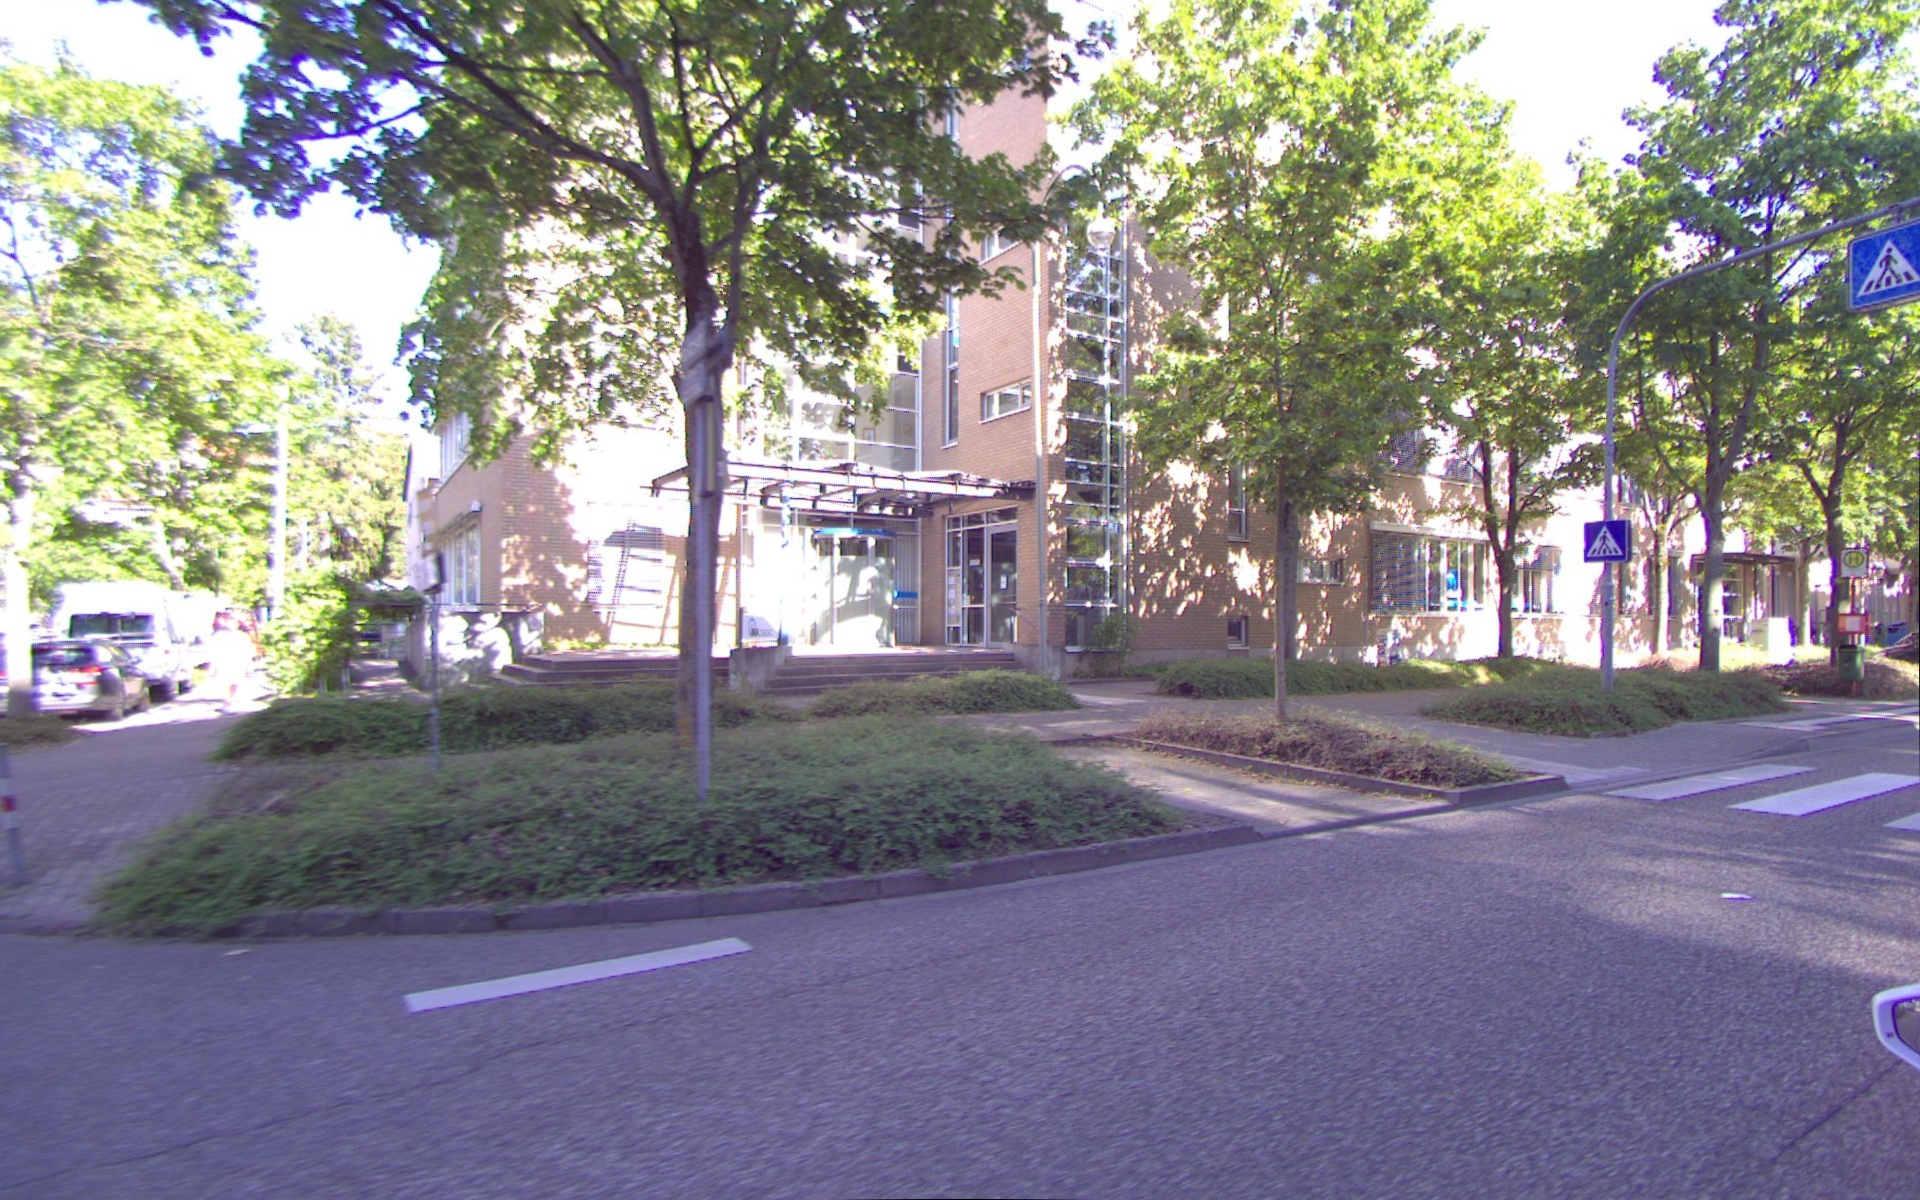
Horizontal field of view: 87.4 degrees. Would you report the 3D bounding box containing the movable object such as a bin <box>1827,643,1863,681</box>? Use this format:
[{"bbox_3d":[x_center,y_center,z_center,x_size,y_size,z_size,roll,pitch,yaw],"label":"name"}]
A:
[{"bbox_3d":[17.826,1.241,20.227,0.404,0.741,0.439,1,0,-33],"label":"movable object such as a bin"}]

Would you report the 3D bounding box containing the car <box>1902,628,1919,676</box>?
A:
[{"bbox_3d":[30.045,1.598,28.789,1.782,1.421,4.127,1,1,-33],"label":"car"}]

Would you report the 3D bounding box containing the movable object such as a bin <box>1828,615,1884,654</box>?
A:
[{"bbox_3d":[43.114,1.656,48.338,1.645,1.820,1.591,1,-1,-31],"label":"movable object such as a bin"}]

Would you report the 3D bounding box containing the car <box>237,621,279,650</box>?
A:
[{"bbox_3d":[-48.362,2.446,69.255,2.062,1.892,4.684,1,-2,-32],"label":"car"}]

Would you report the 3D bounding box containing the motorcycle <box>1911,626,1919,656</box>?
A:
[{"bbox_3d":[51.514,2.178,53.610,2.088,1.612,0.710,1,-2,-35],"label":"motorcycle"}]

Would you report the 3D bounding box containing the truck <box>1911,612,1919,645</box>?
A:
[{"bbox_3d":[82.540,2.356,82.481,2.552,2.740,6.066,1,-2,-34],"label":"truck"}]

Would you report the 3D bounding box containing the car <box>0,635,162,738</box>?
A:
[{"bbox_3d":[-15.861,1.435,18.107,1.828,1.528,4.681,1,-1,-33],"label":"car"}]

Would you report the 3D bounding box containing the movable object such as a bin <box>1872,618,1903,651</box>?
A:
[{"bbox_3d":[47.167,1.728,51.076,1.133,1.641,1.433,-1,-1,45],"label":"movable object such as a bin"}]

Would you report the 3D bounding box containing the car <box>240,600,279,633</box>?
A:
[{"bbox_3d":[-52.031,1.264,74.654,2.062,2.299,4.684,1,-2,-32],"label":"car"}]

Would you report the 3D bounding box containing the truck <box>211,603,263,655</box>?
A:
[{"bbox_3d":[-36.994,1.493,51.481,1.979,2.575,3.963,1,-2,-34],"label":"truck"}]

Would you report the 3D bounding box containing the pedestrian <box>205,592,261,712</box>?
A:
[{"bbox_3d":[-12.090,0.855,16.722,0.664,1.943,0.619,1,-2,-31],"label":"pedestrian"}]

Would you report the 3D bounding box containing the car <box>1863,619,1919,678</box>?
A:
[{"bbox_3d":[27.621,1.397,27.526,1.710,1.591,3.963,1,1,-33],"label":"car"}]

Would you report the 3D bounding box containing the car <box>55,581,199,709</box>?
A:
[{"bbox_3d":[-19.126,0.966,23.306,1.903,2.603,5.429,1,-1,-33],"label":"car"}]

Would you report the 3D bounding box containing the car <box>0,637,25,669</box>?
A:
[{"bbox_3d":[-42.020,2.277,43.211,1.827,1.349,4.046,1,-2,-32],"label":"car"}]
